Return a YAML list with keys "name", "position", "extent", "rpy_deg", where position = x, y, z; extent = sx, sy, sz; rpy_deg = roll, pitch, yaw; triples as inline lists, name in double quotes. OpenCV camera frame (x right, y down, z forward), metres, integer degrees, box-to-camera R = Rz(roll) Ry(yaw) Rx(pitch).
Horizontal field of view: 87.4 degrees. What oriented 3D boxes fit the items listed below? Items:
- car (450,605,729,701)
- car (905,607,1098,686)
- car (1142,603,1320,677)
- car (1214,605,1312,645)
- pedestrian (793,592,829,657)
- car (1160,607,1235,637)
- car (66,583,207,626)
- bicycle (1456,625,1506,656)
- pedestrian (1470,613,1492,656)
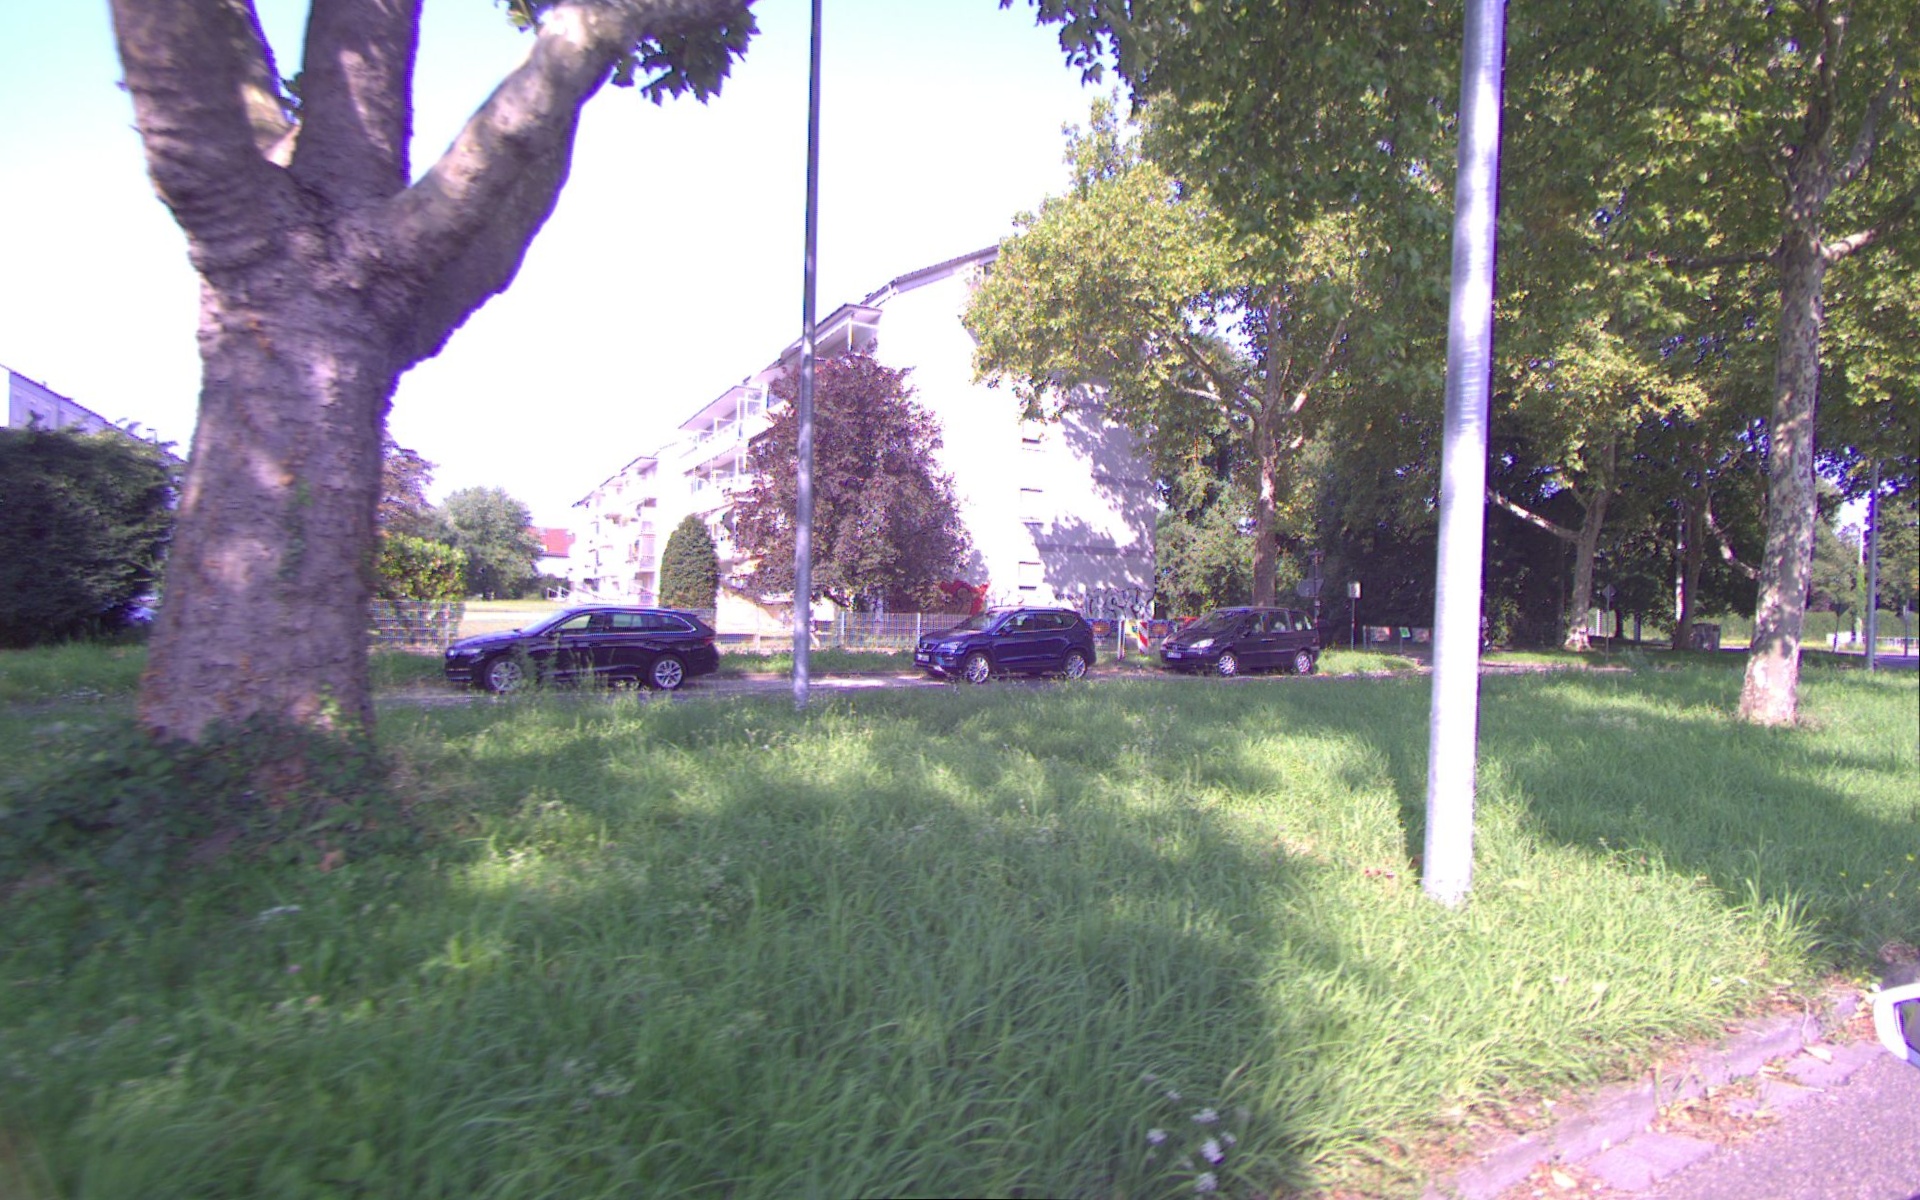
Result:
- name: "car"
  position: [-6.577, 0.888, 17.974]
  extent: [4.487, 1.528, 1.691]
  rpy_deg: [1, 0, -30]
- name: "car"
  position: [0.940, 0.990, 22.106]
  extent: [3.953, 1.588, 1.691]
  rpy_deg: [1, 0, -30]
- name: "car"
  position: [7.069, 1.016, 26.063]
  extent: [4.604, 1.755, 1.691]
  rpy_deg: [1, 0, -30]
- name: "car"
  position: [13.975, 1.141, 46.307]
  extent: [4.329, 1.749, 1.691]
  rpy_deg: [1, 0, -25]
- name: "pedestrian"
  position: [-3.943, 0.643, 26.504]
  extent: [0.726, 1.667, 0.643]
  rpy_deg: [1, 1, -31]
- name: "car"
  position: [13.502, 1.253, 56.990]
  extent: [3.946, 1.588, 1.691]
  rpy_deg: [1, 0, -25]
- name: "car"
  position: [-29.462, 0.177, 36.067]
  extent: [3.633, 1.458, 1.538]
  rpy_deg: [1, 0, -26]
- name: "bicycle"
  position: [21.247, 1.655, 40.945]
  extent: [2.732, 1.215, 0.541]
  rpy_deg: [1, 0, -34]
- name: "pedestrian"
  position: [21.226, 1.398, 40.927]
  extent: [0.651, 1.713, 0.539]
  rpy_deg: [1, 1, -33]
